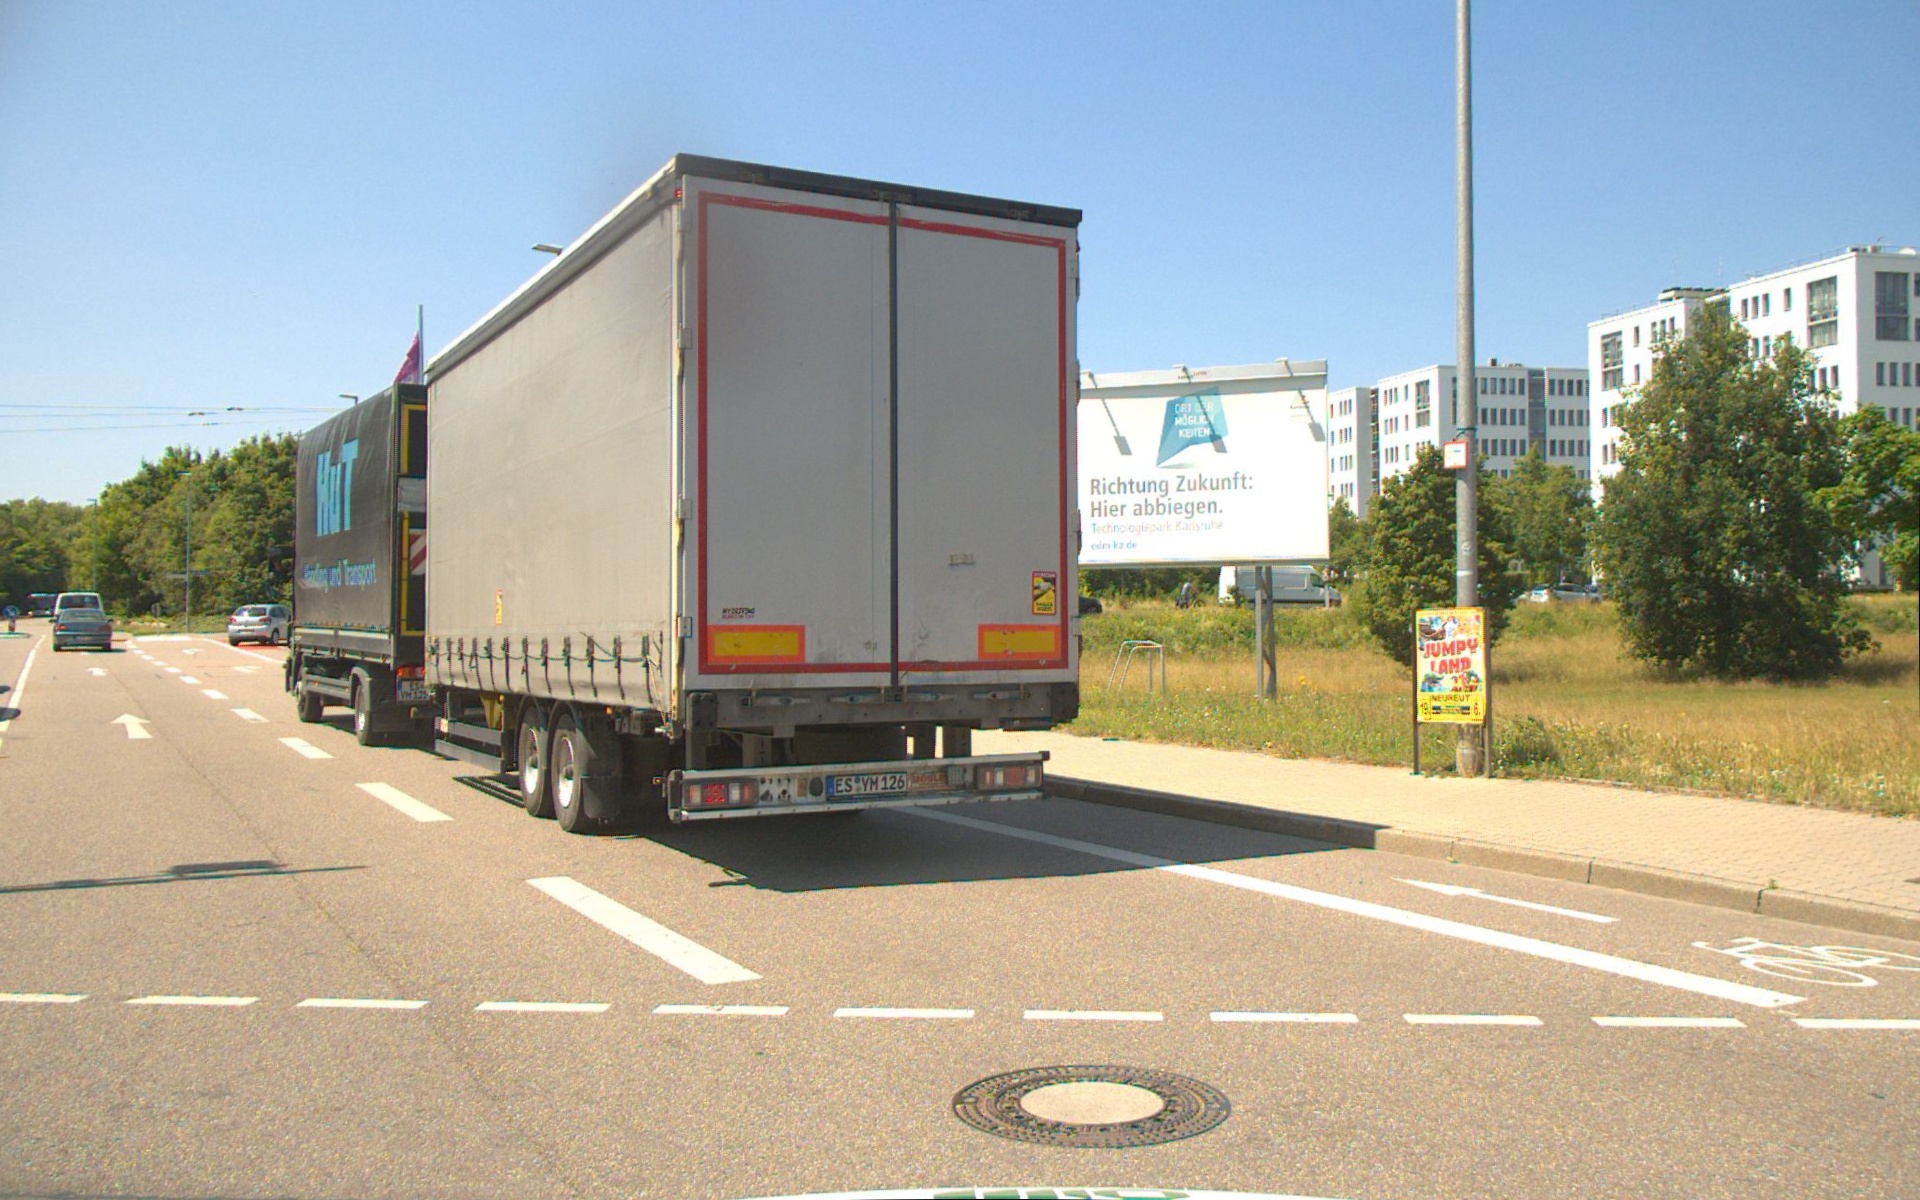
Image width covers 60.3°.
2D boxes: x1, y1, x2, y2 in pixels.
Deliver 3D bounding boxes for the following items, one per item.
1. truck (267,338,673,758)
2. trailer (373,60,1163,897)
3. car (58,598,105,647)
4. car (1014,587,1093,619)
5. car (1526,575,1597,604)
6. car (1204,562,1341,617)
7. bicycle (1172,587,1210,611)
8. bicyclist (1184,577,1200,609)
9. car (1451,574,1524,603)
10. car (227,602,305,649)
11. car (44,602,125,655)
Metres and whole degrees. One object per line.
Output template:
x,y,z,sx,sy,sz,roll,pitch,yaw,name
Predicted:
-6.388,-0.505,20.475,3.045,4.141,7.876,0,0,-30,truck
-2.392,-0.558,13.221,3.042,4.141,9.719,0,-1,-27,trailer
-36.504,0.923,68.774,1.636,1.940,3.965,-1,0,-27,car
4.681,0.143,82.863,3.568,1.560,1.693,1,0,-24,car
34.114,-0.587,93.832,3.560,1.560,1.697,1,0,-18,car
16.571,-0.536,87.748,6.728,2.851,2.653,0,-1,-19,car
12.326,-0.080,88.142,1.929,1.200,0.610,-2,2,-19,bicycle
12.367,-0.370,88.147,0.680,1.652,0.606,-2,2,-19,bicyclist
29.463,-0.610,92.409,3.560,1.560,1.697,1,0,-18,car
-26.248,0.941,62.683,1.804,1.661,3.992,-1,0,-9,car
-29.205,0.915,55.295,1.998,1.661,3.972,-1,0,-23,car
